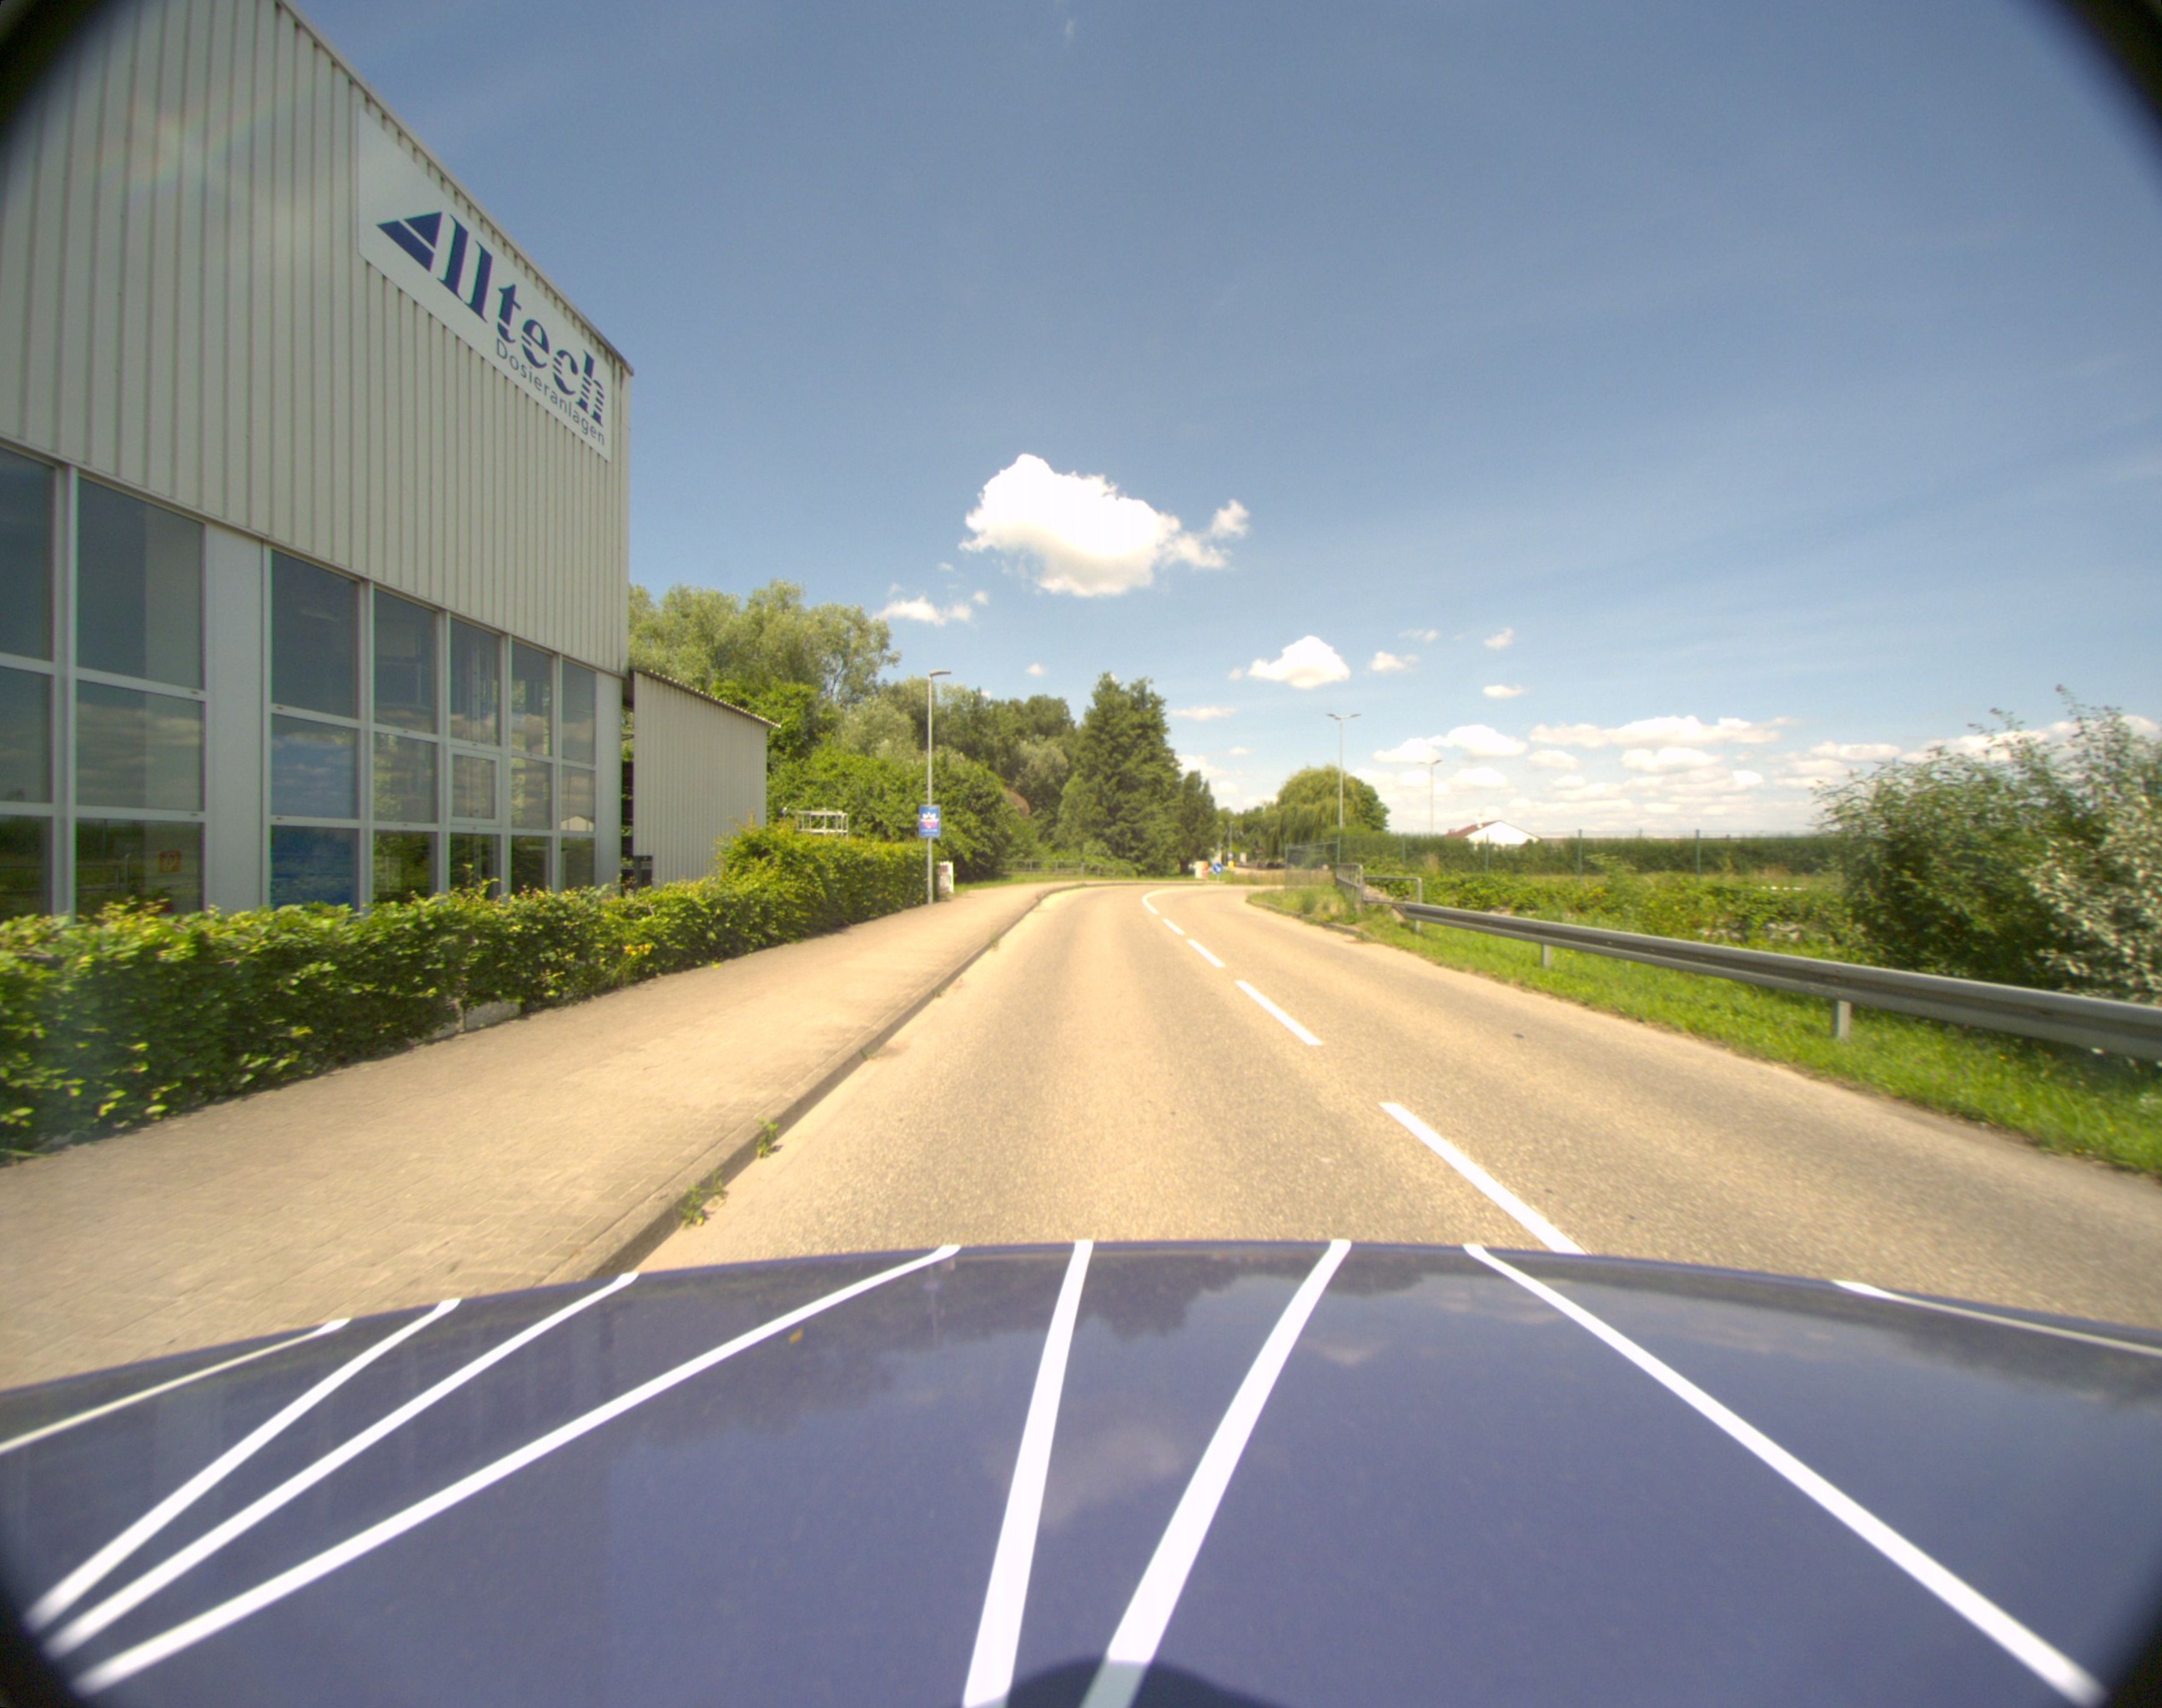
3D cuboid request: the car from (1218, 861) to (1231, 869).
[{"bbox_3d":[28.731,2.152,151.981,1.884,1.455,4.387,1,0,2],"label":"car"}]
